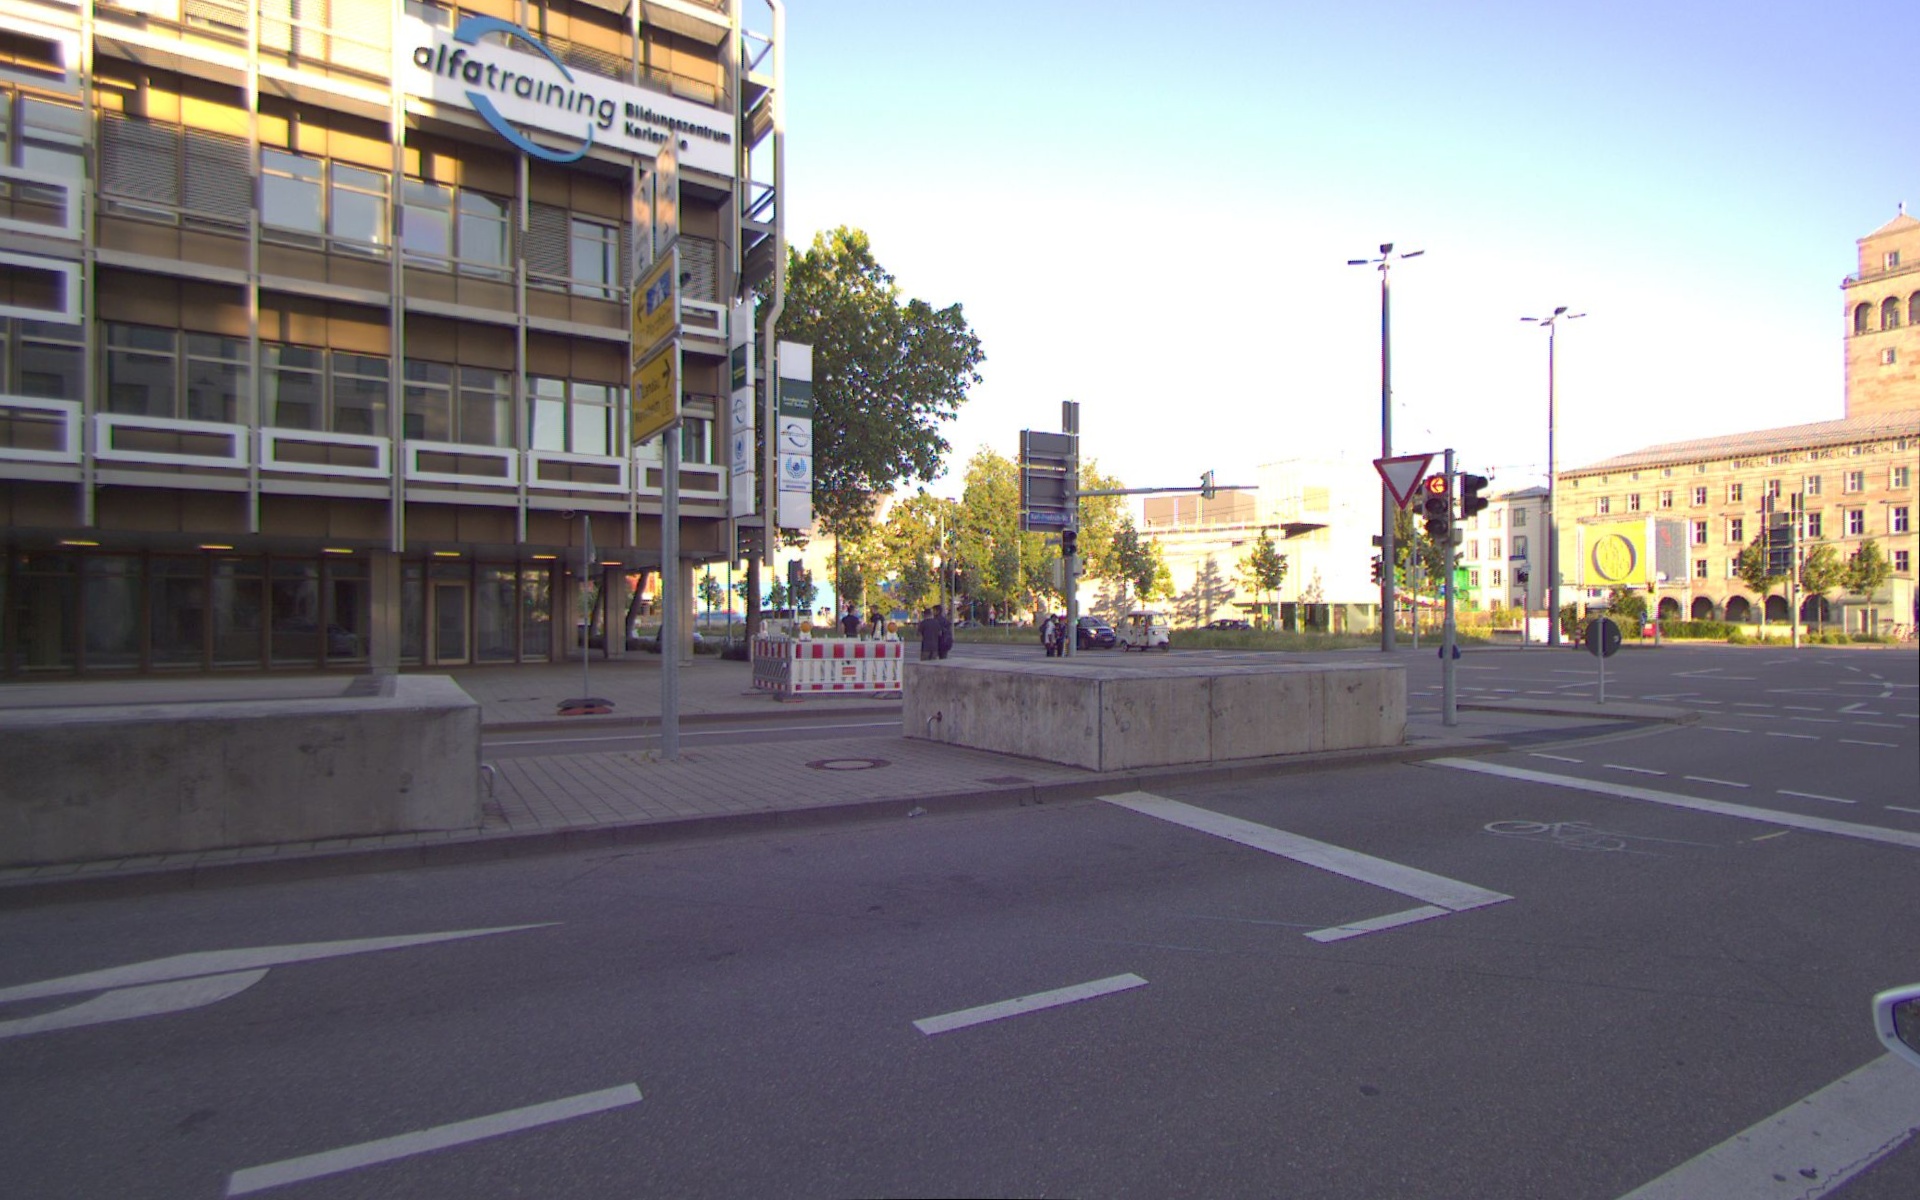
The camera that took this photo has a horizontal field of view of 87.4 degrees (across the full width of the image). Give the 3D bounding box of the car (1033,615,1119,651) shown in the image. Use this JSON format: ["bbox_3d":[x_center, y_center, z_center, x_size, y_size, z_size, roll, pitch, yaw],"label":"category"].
[{"bbox_3d":[5.478,1.540,47.757,1.681,1.613,4.150,0,-1,-37],"label":"car"}]

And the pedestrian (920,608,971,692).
[{"bbox_3d":[-0.324,1.081,22.054,0.855,1.800,0.733,0,0,-35],"label":"pedestrian"}]

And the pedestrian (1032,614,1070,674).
[{"bbox_3d":[2.780,1.350,30.640,0.850,1.800,0.737,-4,-4,39],"label":"pedestrian"}]

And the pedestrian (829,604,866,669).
[{"bbox_3d":[-3.191,1.043,28.560,0.851,1.800,0.737,0,-3,-22],"label":"pedestrian"}]

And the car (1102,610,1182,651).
[{"bbox_3d":[7.955,1.311,43.995,1.600,1.707,3.102,0,-1,-43],"label":"car"}]

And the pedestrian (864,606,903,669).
[{"bbox_3d":[-2.213,1.080,28.882,0.853,1.800,0.735,0,-3,-30],"label":"pedestrian"}]

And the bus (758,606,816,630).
[{"bbox_3d":[-22.600,2.341,130.636,3.188,2.948,10.423,0,-1,-35],"label":"bus"}]

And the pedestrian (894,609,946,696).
[{"bbox_3d":[-0.856,1.093,21.415,0.855,1.800,0.733,0,0,-35],"label":"pedestrian"}]

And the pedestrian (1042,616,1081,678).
[{"bbox_3d":[3.011,1.389,29.822,0.850,1.800,0.738,-4,-4,37],"label":"pedestrian"}]
